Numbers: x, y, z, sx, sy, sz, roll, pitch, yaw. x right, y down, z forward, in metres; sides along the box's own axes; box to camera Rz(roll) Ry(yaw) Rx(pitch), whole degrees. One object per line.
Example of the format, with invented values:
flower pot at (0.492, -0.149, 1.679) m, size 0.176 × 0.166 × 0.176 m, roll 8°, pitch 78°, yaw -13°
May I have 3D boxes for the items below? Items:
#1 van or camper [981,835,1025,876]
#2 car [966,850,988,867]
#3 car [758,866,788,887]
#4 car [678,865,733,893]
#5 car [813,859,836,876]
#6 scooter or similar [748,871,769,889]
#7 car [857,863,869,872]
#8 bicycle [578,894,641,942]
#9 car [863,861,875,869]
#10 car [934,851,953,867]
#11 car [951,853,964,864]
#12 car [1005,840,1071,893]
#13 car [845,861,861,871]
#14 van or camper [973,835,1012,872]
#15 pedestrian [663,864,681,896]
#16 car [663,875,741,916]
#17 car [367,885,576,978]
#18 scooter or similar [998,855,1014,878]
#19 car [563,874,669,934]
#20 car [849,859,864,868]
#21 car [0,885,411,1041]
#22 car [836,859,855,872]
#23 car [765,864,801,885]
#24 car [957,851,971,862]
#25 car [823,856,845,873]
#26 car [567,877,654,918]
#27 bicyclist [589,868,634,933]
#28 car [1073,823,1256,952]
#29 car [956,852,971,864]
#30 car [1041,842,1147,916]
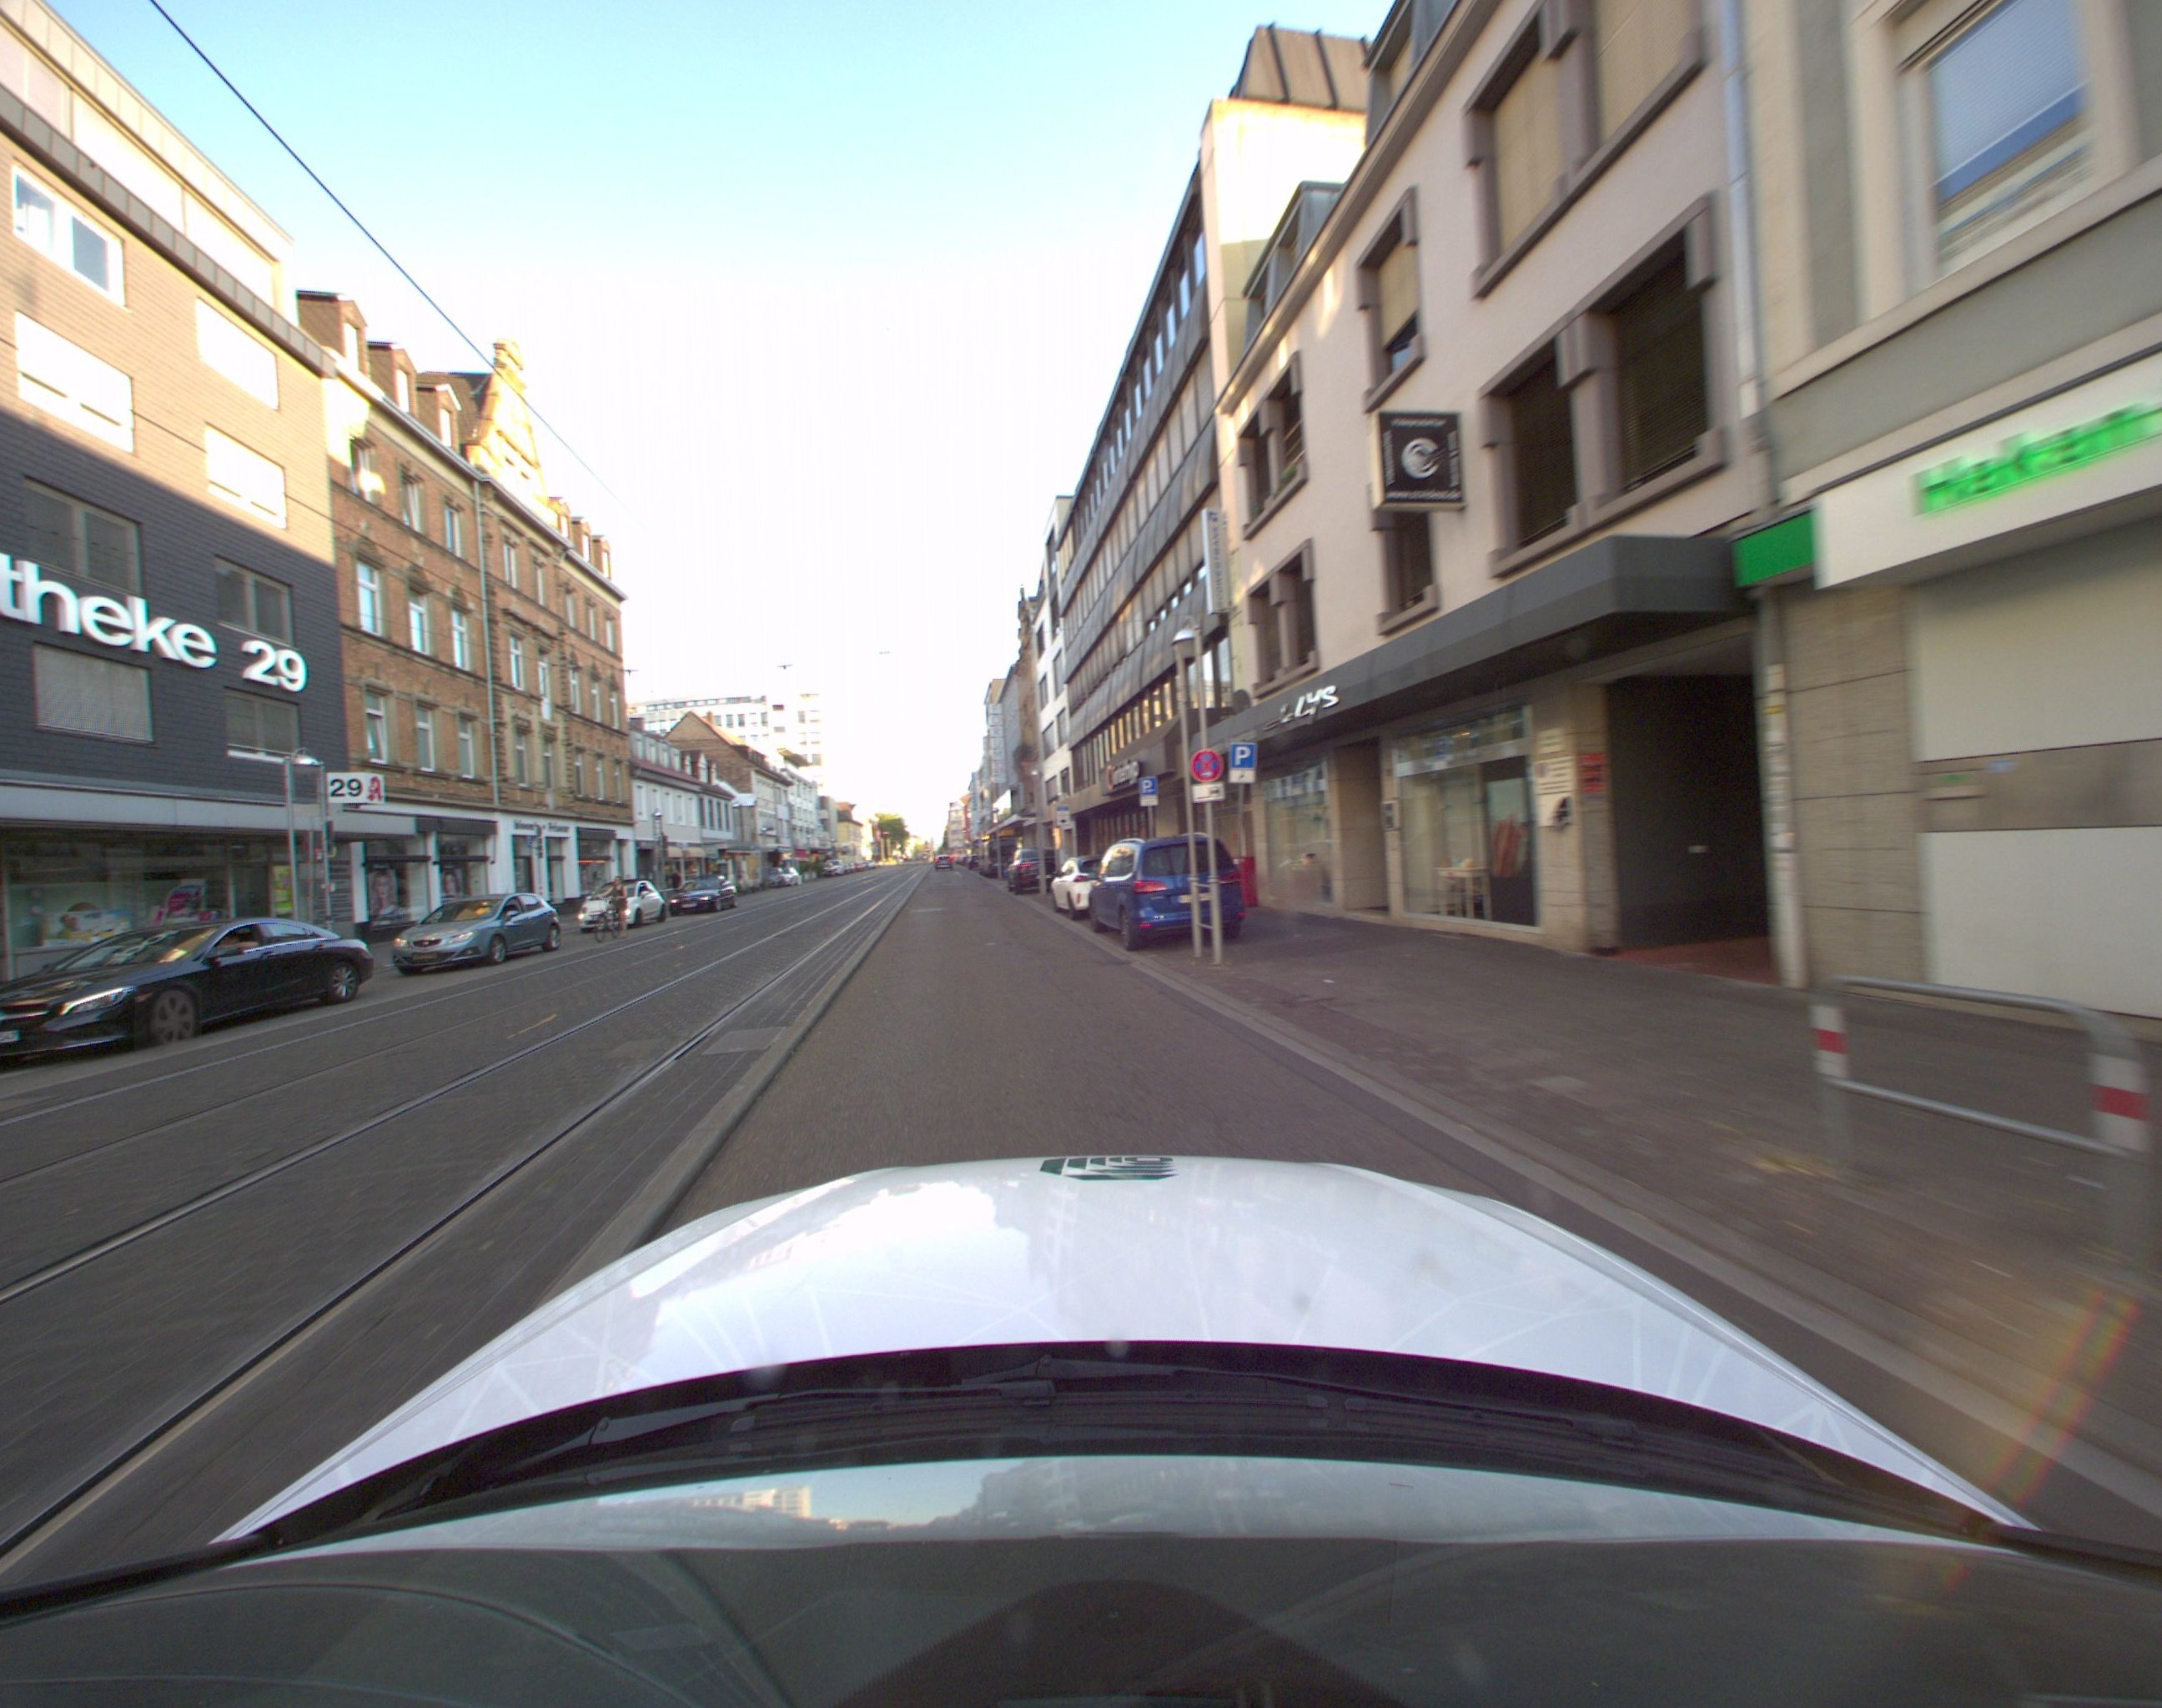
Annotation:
van or camper at (-5.338, 0.096, 54.809) m, size 2.189 × 2.426 × 6.110 m, roll -6°, pitch 1°, yaw -10°
car at (-10.658, 0.433, 83.208) m, size 1.944 × 1.544 × 4.530 m, roll -6°, pitch 1°, yaw -9°
car at (-22.968, 1.650, 60.848) m, size 1.592 × 1.504 × 2.802 m, roll -1°, pitch 0°, yaw -11°
car at (-20.569, 1.323, 44.737) m, size 1.734 × 1.389 × 3.852 m, roll -1°, pitch 0°, yaw -9°
car at (-28.760, 1.519, 91.396) m, size 1.917 × 1.763 × 4.415 m, roll -1°, pitch 0°, yaw -10°
scooter or similar at (-22.741, 1.846, 57.519) m, size 1.314 × 1.205 × 0.293 m, roll -2°, pitch 0°, yaw -10°
car at (-37.686, 2.379, 140.944) m, size 1.791 × 1.449 × 3.877 m, roll -1°, pitch 0°, yaw -11°
bicycle at (-12.015, 1.609, 20.810) m, size 0.694 × 1.034 × 2.073 m, roll -4°, pitch 0°, yaw -11°
car at (-38.198, 1.973, 146.984) m, size 1.791 × 1.449 × 3.877 m, roll -1°, pitch 0°, yaw -11°
car at (-15.013, 0.537, 89.038) m, size 1.944 × 1.544 × 4.530 m, roll -3°, pitch 1°, yaw -9°
car at (-21.546, 0.754, 141.853) m, size 1.944 × 1.703 × 4.530 m, roll -6°, pitch 1°, yaw -9°
car at (-1.777, 0.444, 32.016) m, size 1.984 × 1.734 × 4.655 m, roll -6°, pitch 1°, yaw -9°
car at (-31.771, 1.686, 113.455) m, size 1.791 × 1.339 × 3.877 m, roll -1°, pitch 0°, yaw -11°
van or camper at (-6.672, -0.042, 60.999) m, size 2.190 × 2.426 × 5.496 m, roll -6°, pitch 1°, yaw -11°
pedestrian at (-23.367, 1.462, 46.549) m, size 0.648 × 1.772 × 0.852 m, roll -2°, pitch 0°, yaw -10°
car at (-15.006, 1.603, 32.445) m, size 1.668 × 1.228 × 4.258 m, roll -6°, pitch 1°, yaw -10°
car at (-12.683, 1.526, 17.319) m, size 1.758 × 1.386 × 4.048 m, roll -6°, pitch 1°, yaw -9°
scooter or similar at (-4.333, 0.696, 47.066) m, size 0.351 × 1.223 × 1.122 m, roll -6°, pitch 1°, yaw 23°
car at (-14.691, 1.520, 25.955) m, size 1.668 × 1.505 × 3.667 m, roll -6°, pitch 1°, yaw -10°
car at (-33.833, 1.405, 122.813) m, size 1.791 × 1.339 × 3.877 m, roll -1°, pitch 0°, yaw -11°
car at (-11.803, 1.302, 11.139) m, size 1.915 × 1.386 × 4.548 m, roll -6°, pitch 1°, yaw -9°
car at (-31.021, 1.505, 107.201) m, size 1.918 × 1.521 × 4.612 m, roll -1°, pitch 0°, yaw -11°
car at (-23.822, 1.637, 65.270) m, size 1.849 × 1.504 × 4.825 m, roll -1°, pitch 0°, yaw -10°
car at (-18.131, 0.381, 126.419) m, size 1.944 × 1.544 × 4.530 m, roll -6°, pitch 1°, yaw -9°
car at (-30.141, 1.289, 99.326) m, size 1.917 × 1.935 × 4.825 m, roll -1°, pitch 0°, yaw -10°
car at (-18.752, 1.697, 32.671) m, size 1.760 × 1.389 × 4.256 m, roll -1°, pitch 0°, yaw -12°
bicyclist at (-12.070, 1.177, 20.952) m, size 0.694 × 1.565 × 0.796 m, roll -4°, pitch 0°, yaw -12°
car at (1.237, 0.488, 14.307) m, size 1.915 × 1.716 × 4.548 m, roll -6°, pitch 1°, yaw -9°
car at (-17.409, 0.566, 120.821) m, size 1.944 × 1.544 × 4.530 m, roll -6°, pitch 1°, yaw -9°
car at (0.216, 0.557, 20.094) m, size 1.767 × 1.485 × 3.858 m, roll -6°, pitch 1°, yaw -10°
